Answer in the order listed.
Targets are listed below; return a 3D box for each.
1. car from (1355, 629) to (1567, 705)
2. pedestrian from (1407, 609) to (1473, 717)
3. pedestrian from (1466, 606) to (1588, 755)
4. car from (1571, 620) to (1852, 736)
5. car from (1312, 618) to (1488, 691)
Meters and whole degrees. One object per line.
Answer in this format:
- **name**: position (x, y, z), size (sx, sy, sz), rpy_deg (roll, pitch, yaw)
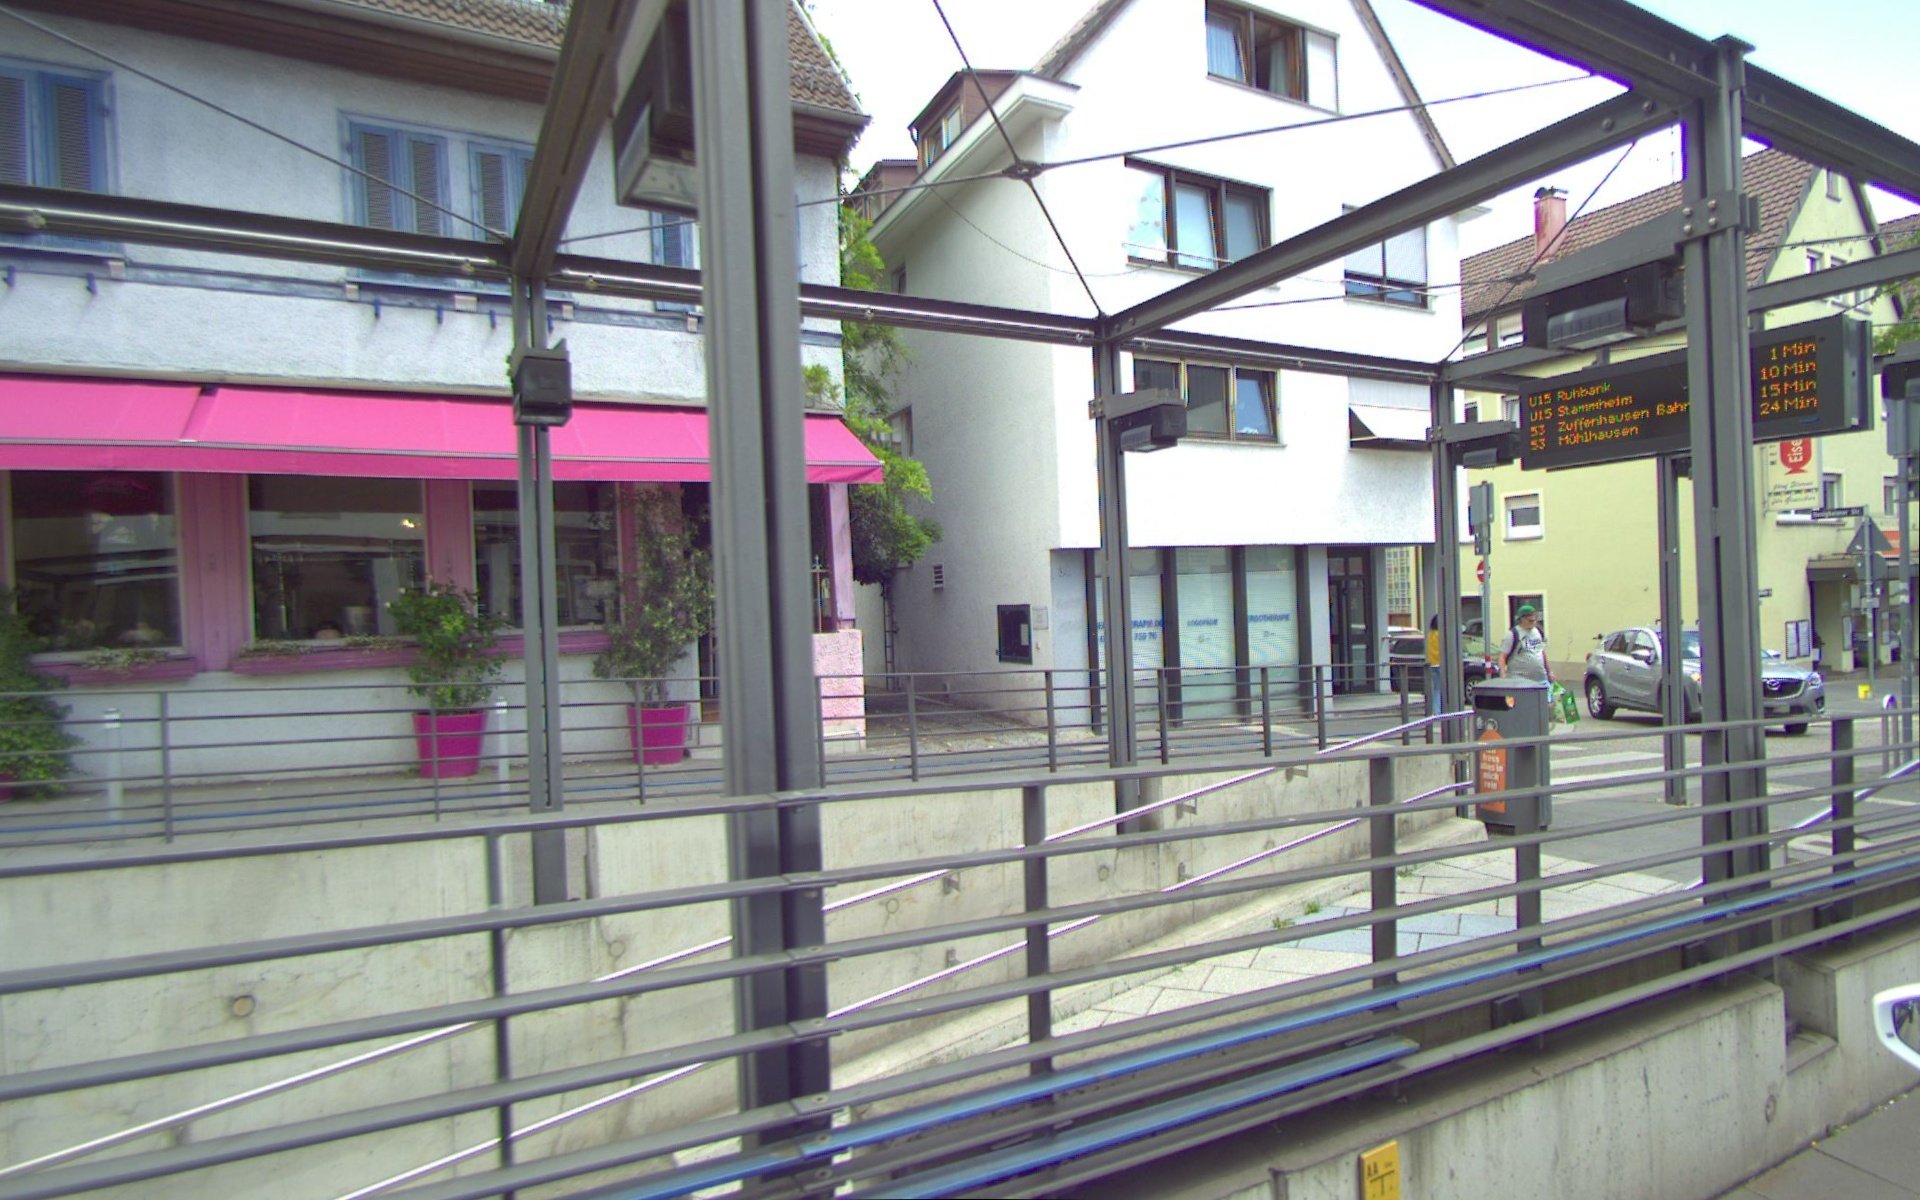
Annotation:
- **car**: position (11.658, 1.499, 23.727), size (1.887, 1.589, 4.350), rpy_deg (1, -1, -22)
- **pedestrian**: position (8.048, 1.046, 16.846), size (0.827, 1.761, 0.633), rpy_deg (1, -3, -33)
- **pedestrian**: position (7.168, 0.989, 12.740), size (0.971, 1.811, 0.917), rpy_deg (0, -1, -14)
- **car**: position (12.078, 1.189, 16.576), size (1.929, 1.642, 4.358), rpy_deg (0, -2, 10)
- **car**: position (12.585, 1.587, 29.029), size (1.973, 1.829, 4.327), rpy_deg (-3, -2, -26)
